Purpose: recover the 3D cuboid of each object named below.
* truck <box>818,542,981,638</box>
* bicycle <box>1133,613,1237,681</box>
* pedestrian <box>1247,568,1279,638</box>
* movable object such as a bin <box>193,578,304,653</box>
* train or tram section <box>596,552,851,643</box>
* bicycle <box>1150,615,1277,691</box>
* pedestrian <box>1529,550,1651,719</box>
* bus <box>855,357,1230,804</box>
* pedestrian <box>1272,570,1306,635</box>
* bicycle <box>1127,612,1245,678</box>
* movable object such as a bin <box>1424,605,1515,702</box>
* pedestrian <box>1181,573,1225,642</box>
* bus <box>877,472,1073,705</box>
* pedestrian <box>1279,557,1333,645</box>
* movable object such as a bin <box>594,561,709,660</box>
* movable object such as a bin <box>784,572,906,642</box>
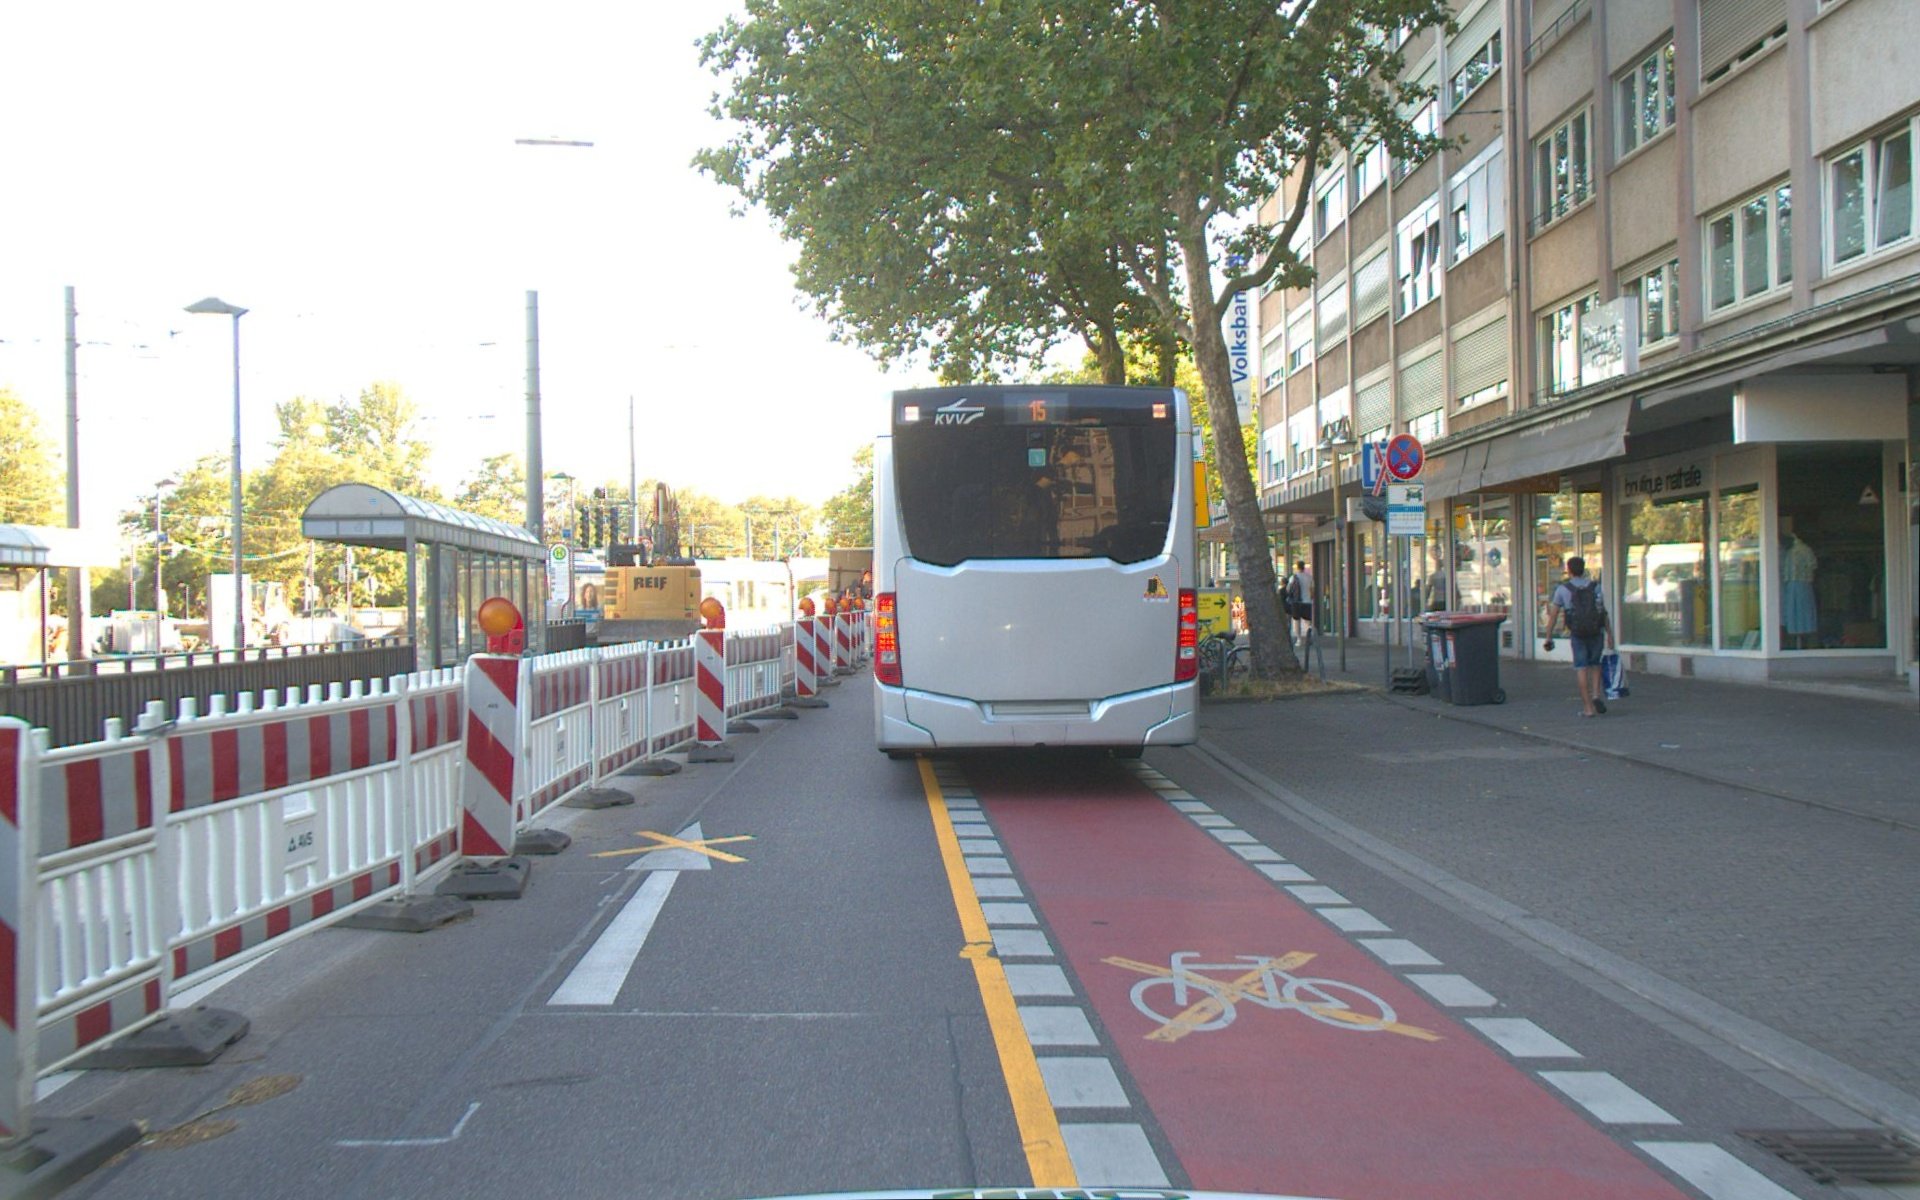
[{"bbox_3d":[-2.298,-0.406,67.478,2.756,3.603,8.976,-1,0,25],"label":"truck"},{"bbox_3d":[3.863,0.808,28.465,1.678,1.076,0.644,-2,0,0],"label":"bicycle"},{"bbox_3d":[7.700,0.078,42.022,0.571,1.738,0.679,-4,0,-2],"label":"pedestrian"},{"bbox_3d":[-26.622,0.559,62.090,2.107,2.685,4.599,-1,0,0],"label":"movable object such as a bin"},{"bbox_3d":[-9.917,-0.077,71.848,2.800,3.595,13.354,-1,-1,34],"label":"train or tram section"},{"bbox_3d":[3.801,0.795,24.883,1.754,1.040,0.643,-3,0,-4],"label":"bicycle"},{"bbox_3d":[6.652,0.353,17.511,0.826,1.702,0.990,-3,0,-2],"label":"pedestrian"},{"bbox_3d":[0.419,-0.158,17.365,2.678,3.193,10.699,1,0,-2],"label":"bus"},{"bbox_3d":[8.358,0.053,42.028,0.620,1.601,0.774,-4,1,-2],"label":"pedestrian"},{"bbox_3d":[4.069,0.804,29.872,1.948,1.077,0.770,-3,0,-4],"label":"bicycle"},{"bbox_3d":[6.215,0.635,20.225,0.660,1.094,1.228,-4,0,-1],"label":"movable object such as a bin"},{"bbox_3d":[6.390,0.188,43.552,0.881,1.740,1.070,-4,0,-2],"label":"pedestrian"},{"bbox_3d":[0.055,-0.156,27.188,2.654,3.161,8.976,1,0,-2],"label":"bus"},{"bbox_3d":[7.925,0.020,37.933,0.821,1.901,1.099,-5,0,-2],"label":"pedestrian"},{"bbox_3d":[-7.856,0.240,42.590,2.593,2.358,4.894,-1,0,-7],"label":"movable object such as a bin"},{"bbox_3d":[-3.945,0.207,57.727,1.954,2.296,5.204,0,1,25],"label":"movable object such as a bin"}]
